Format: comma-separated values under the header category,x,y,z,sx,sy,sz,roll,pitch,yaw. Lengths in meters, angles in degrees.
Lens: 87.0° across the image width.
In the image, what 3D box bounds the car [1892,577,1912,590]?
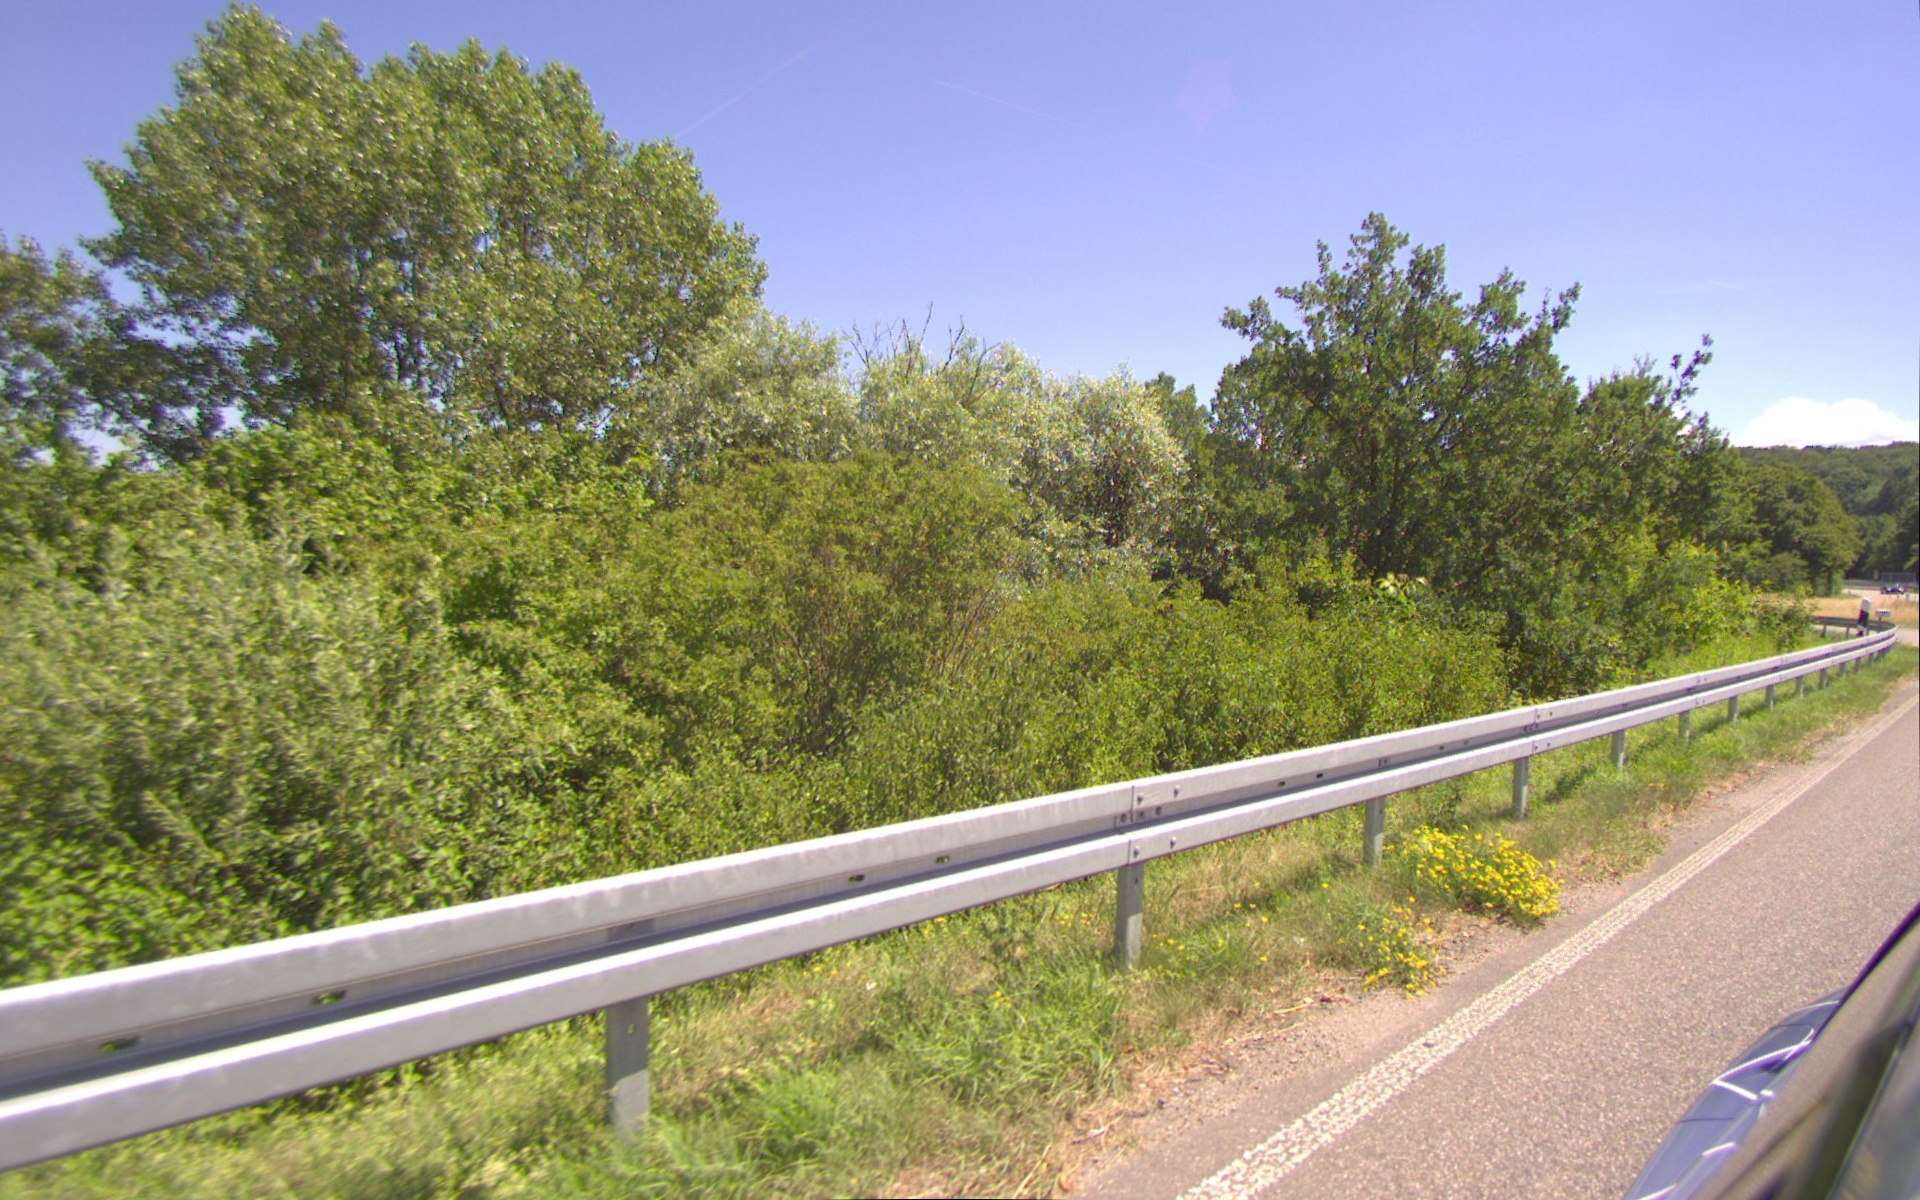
category,x,y,z,sx,sy,sz,roll,pitch,yaw
car,127.518,-2.288,136.947,1.869,1.623,3.940,2,3,42

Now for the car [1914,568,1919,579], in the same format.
category,x,y,z,sx,sy,sz,roll,pitch,yaw
car,160.119,-4.384,168.043,1.926,1.772,4.848,1,3,37
